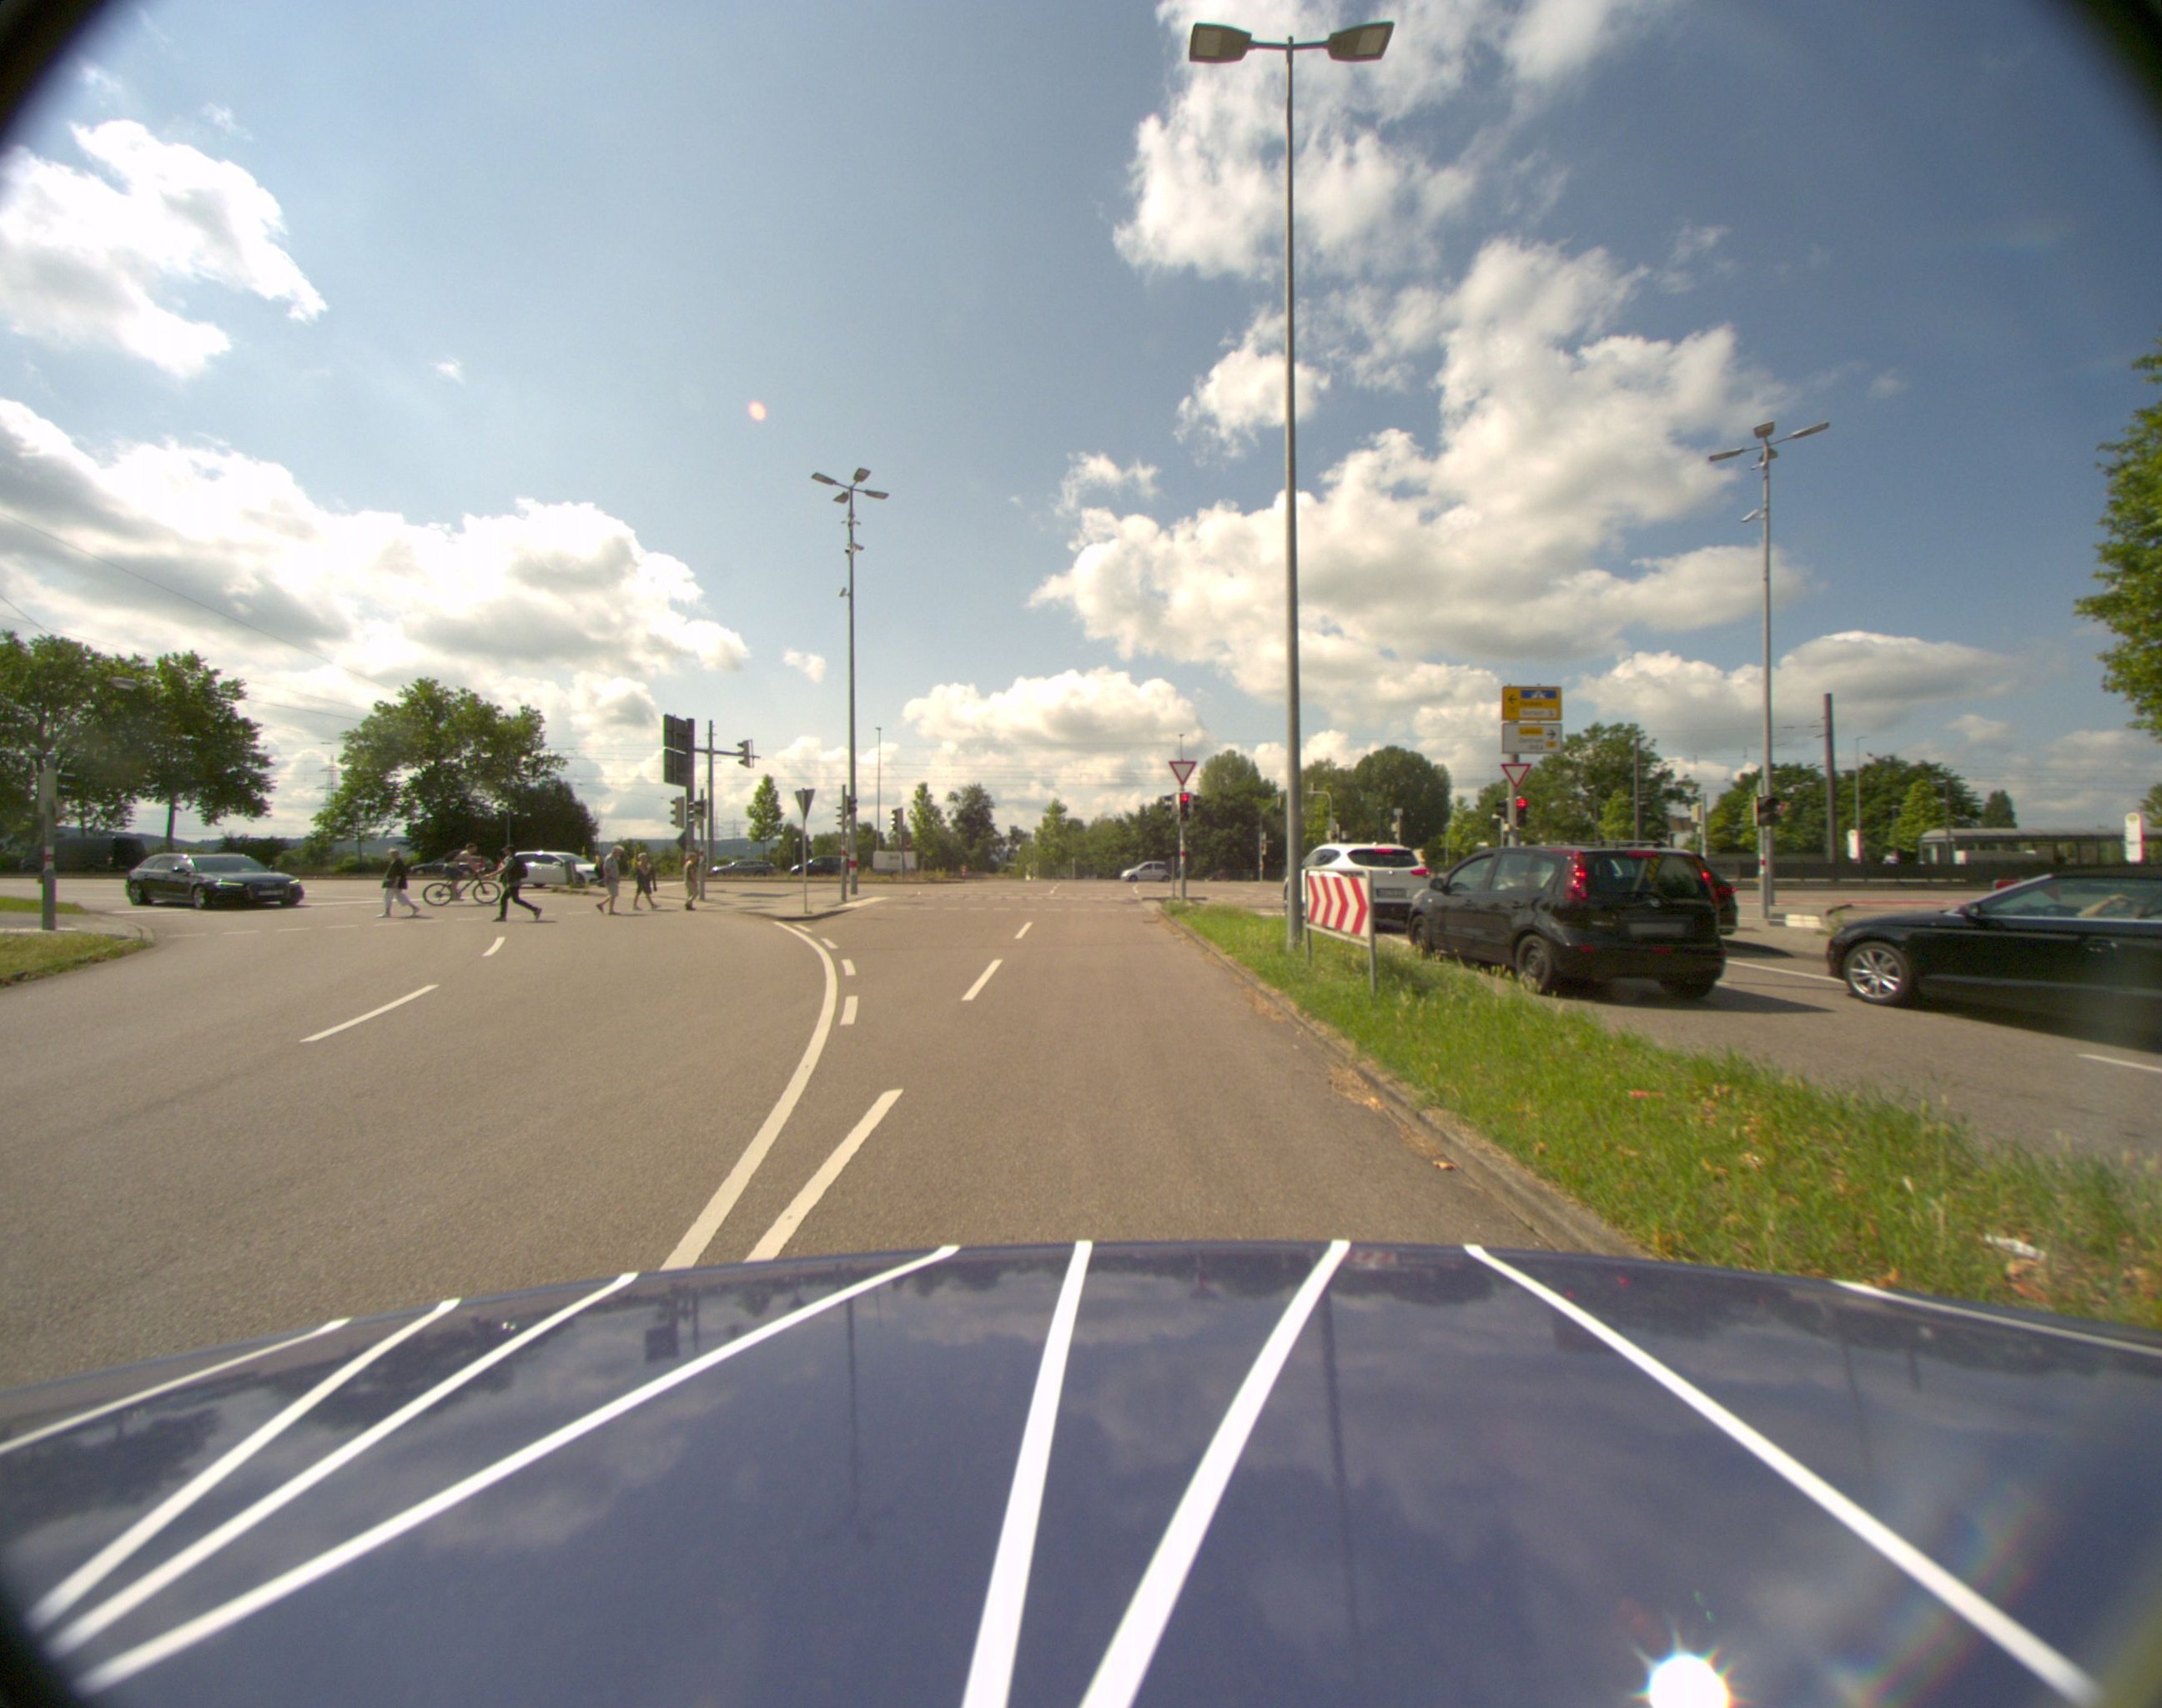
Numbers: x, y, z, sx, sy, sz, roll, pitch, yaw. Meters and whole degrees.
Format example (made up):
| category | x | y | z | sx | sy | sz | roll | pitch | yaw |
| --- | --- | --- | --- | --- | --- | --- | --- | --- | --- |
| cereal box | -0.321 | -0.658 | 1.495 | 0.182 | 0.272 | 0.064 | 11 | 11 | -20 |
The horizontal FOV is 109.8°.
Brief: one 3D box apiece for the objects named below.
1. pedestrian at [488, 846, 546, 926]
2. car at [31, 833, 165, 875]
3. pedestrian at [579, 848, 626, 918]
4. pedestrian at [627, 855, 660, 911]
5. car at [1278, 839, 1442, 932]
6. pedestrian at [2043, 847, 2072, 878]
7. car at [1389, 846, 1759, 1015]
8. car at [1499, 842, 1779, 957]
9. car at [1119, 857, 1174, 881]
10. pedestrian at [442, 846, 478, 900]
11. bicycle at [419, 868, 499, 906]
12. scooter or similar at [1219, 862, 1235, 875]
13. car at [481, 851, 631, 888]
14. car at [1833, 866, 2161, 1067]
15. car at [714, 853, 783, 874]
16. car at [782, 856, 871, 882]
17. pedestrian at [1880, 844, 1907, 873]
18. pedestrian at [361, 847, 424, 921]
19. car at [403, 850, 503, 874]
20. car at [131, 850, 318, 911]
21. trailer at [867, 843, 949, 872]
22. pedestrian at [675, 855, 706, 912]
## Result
| category | x | y | z | sx | sy | sz | roll | pitch | yaw |
| --- | --- | --- | --- | --- | --- | --- | --- | --- | --- |
| pedestrian | -13.040 | 0.729 | 17.580 | 0.820 | 1.792 | 0.761 | -1 | 1 | 28 |
| car | -64.222 | 0.045 | 49.719 | 5.674 | 2.588 | 1.993 | 0 | -2 | -5 |
| pedestrian | -12.089 | 0.713 | 19.219 | 0.688 | 1.718 | 0.701 | 0 | 1 | 12 |
| pedestrian | -11.879 | 0.783 | 20.629 | 0.584 | 1.515 | 0.469 | 0 | 1 | 10 |
| car | 5.494 | 0.535 | 15.606 | 1.712 | 1.610 | 4.377 | 1 | 1 | 0 |
| pedestrian | 58.751 | 0.507 | 45.733 | 0.792 | 1.842 | 0.761 | 1 | 0 | -7 |
| car | 5.248 | 0.677 | 8.865 | 1.608 | 1.484 | 4.132 | 1 | 0 | 0 |
| car | 9.130 | 0.621 | 12.934 | 1.775 | 1.606 | 3.999 | 2 | 1 | 0 |
| car | 4.547 | 1.037 | 53.262 | 3.491 | 1.448 | 1.699 | -4 | 2 | -8 |
| pedestrian | -17.767 | 0.549 | 21.743 | 0.505 | 1.527 | 0.687 | -2 | -1 | 41 |
| bicycle | -17.770 | 0.932 | 21.731 | 0.506 | 1.041 | 1.699 | -2 | -1 | 41 |
| scooter or similar | 12.140 | 1.216 | 63.207 | 1.249 | 1.092 | 0.343 | -1 | -1 | -2 |
| car | -20.667 | 0.601 | 30.070 | 4.495 | 1.404 | 2.014 | 0 | 0 | -2 |
| car | 8.377 | 0.836 | 5.702 | 1.415 | 1.383 | 4.096 | 2 | 0 | 1 |
| car | -23.342 | 0.669 | 53.403 | 4.068 | 1.439 | 1.729 | 0 | 1 | -5 |
| car | -16.683 | 0.984 | 50.036 | 5.252 | 1.564 | 1.999 | -1 | -1 | -9 |
| pedestrian | 48.090 | 0.253 | 44.972 | 0.792 | 1.698 | 0.761 | 1 | 0 | -4 |
| pedestrian | -16.779 | 0.703 | 18.534 | 0.860 | 1.755 | 0.867 | 0 | 1 | 28 |
| car | -41.910 | 0.542 | 50.840 | 4.782 | 1.499 | 1.966 | 0 | -2 | -8 |
| car | -23.722 | 0.664 | 21.078 | 4.192 | 1.475 | 1.919 | 1 | 2 | 19 |
| trailer | -11.513 | 0.220 | 50.926 | 5.183 | 1.820 | 1.823 | -1 | 1 | -9 |
| pedestrian | -10.533 | 0.800 | 20.503 | 0.556 | 1.515 | 0.470 | -1 | -1 | 10 |
